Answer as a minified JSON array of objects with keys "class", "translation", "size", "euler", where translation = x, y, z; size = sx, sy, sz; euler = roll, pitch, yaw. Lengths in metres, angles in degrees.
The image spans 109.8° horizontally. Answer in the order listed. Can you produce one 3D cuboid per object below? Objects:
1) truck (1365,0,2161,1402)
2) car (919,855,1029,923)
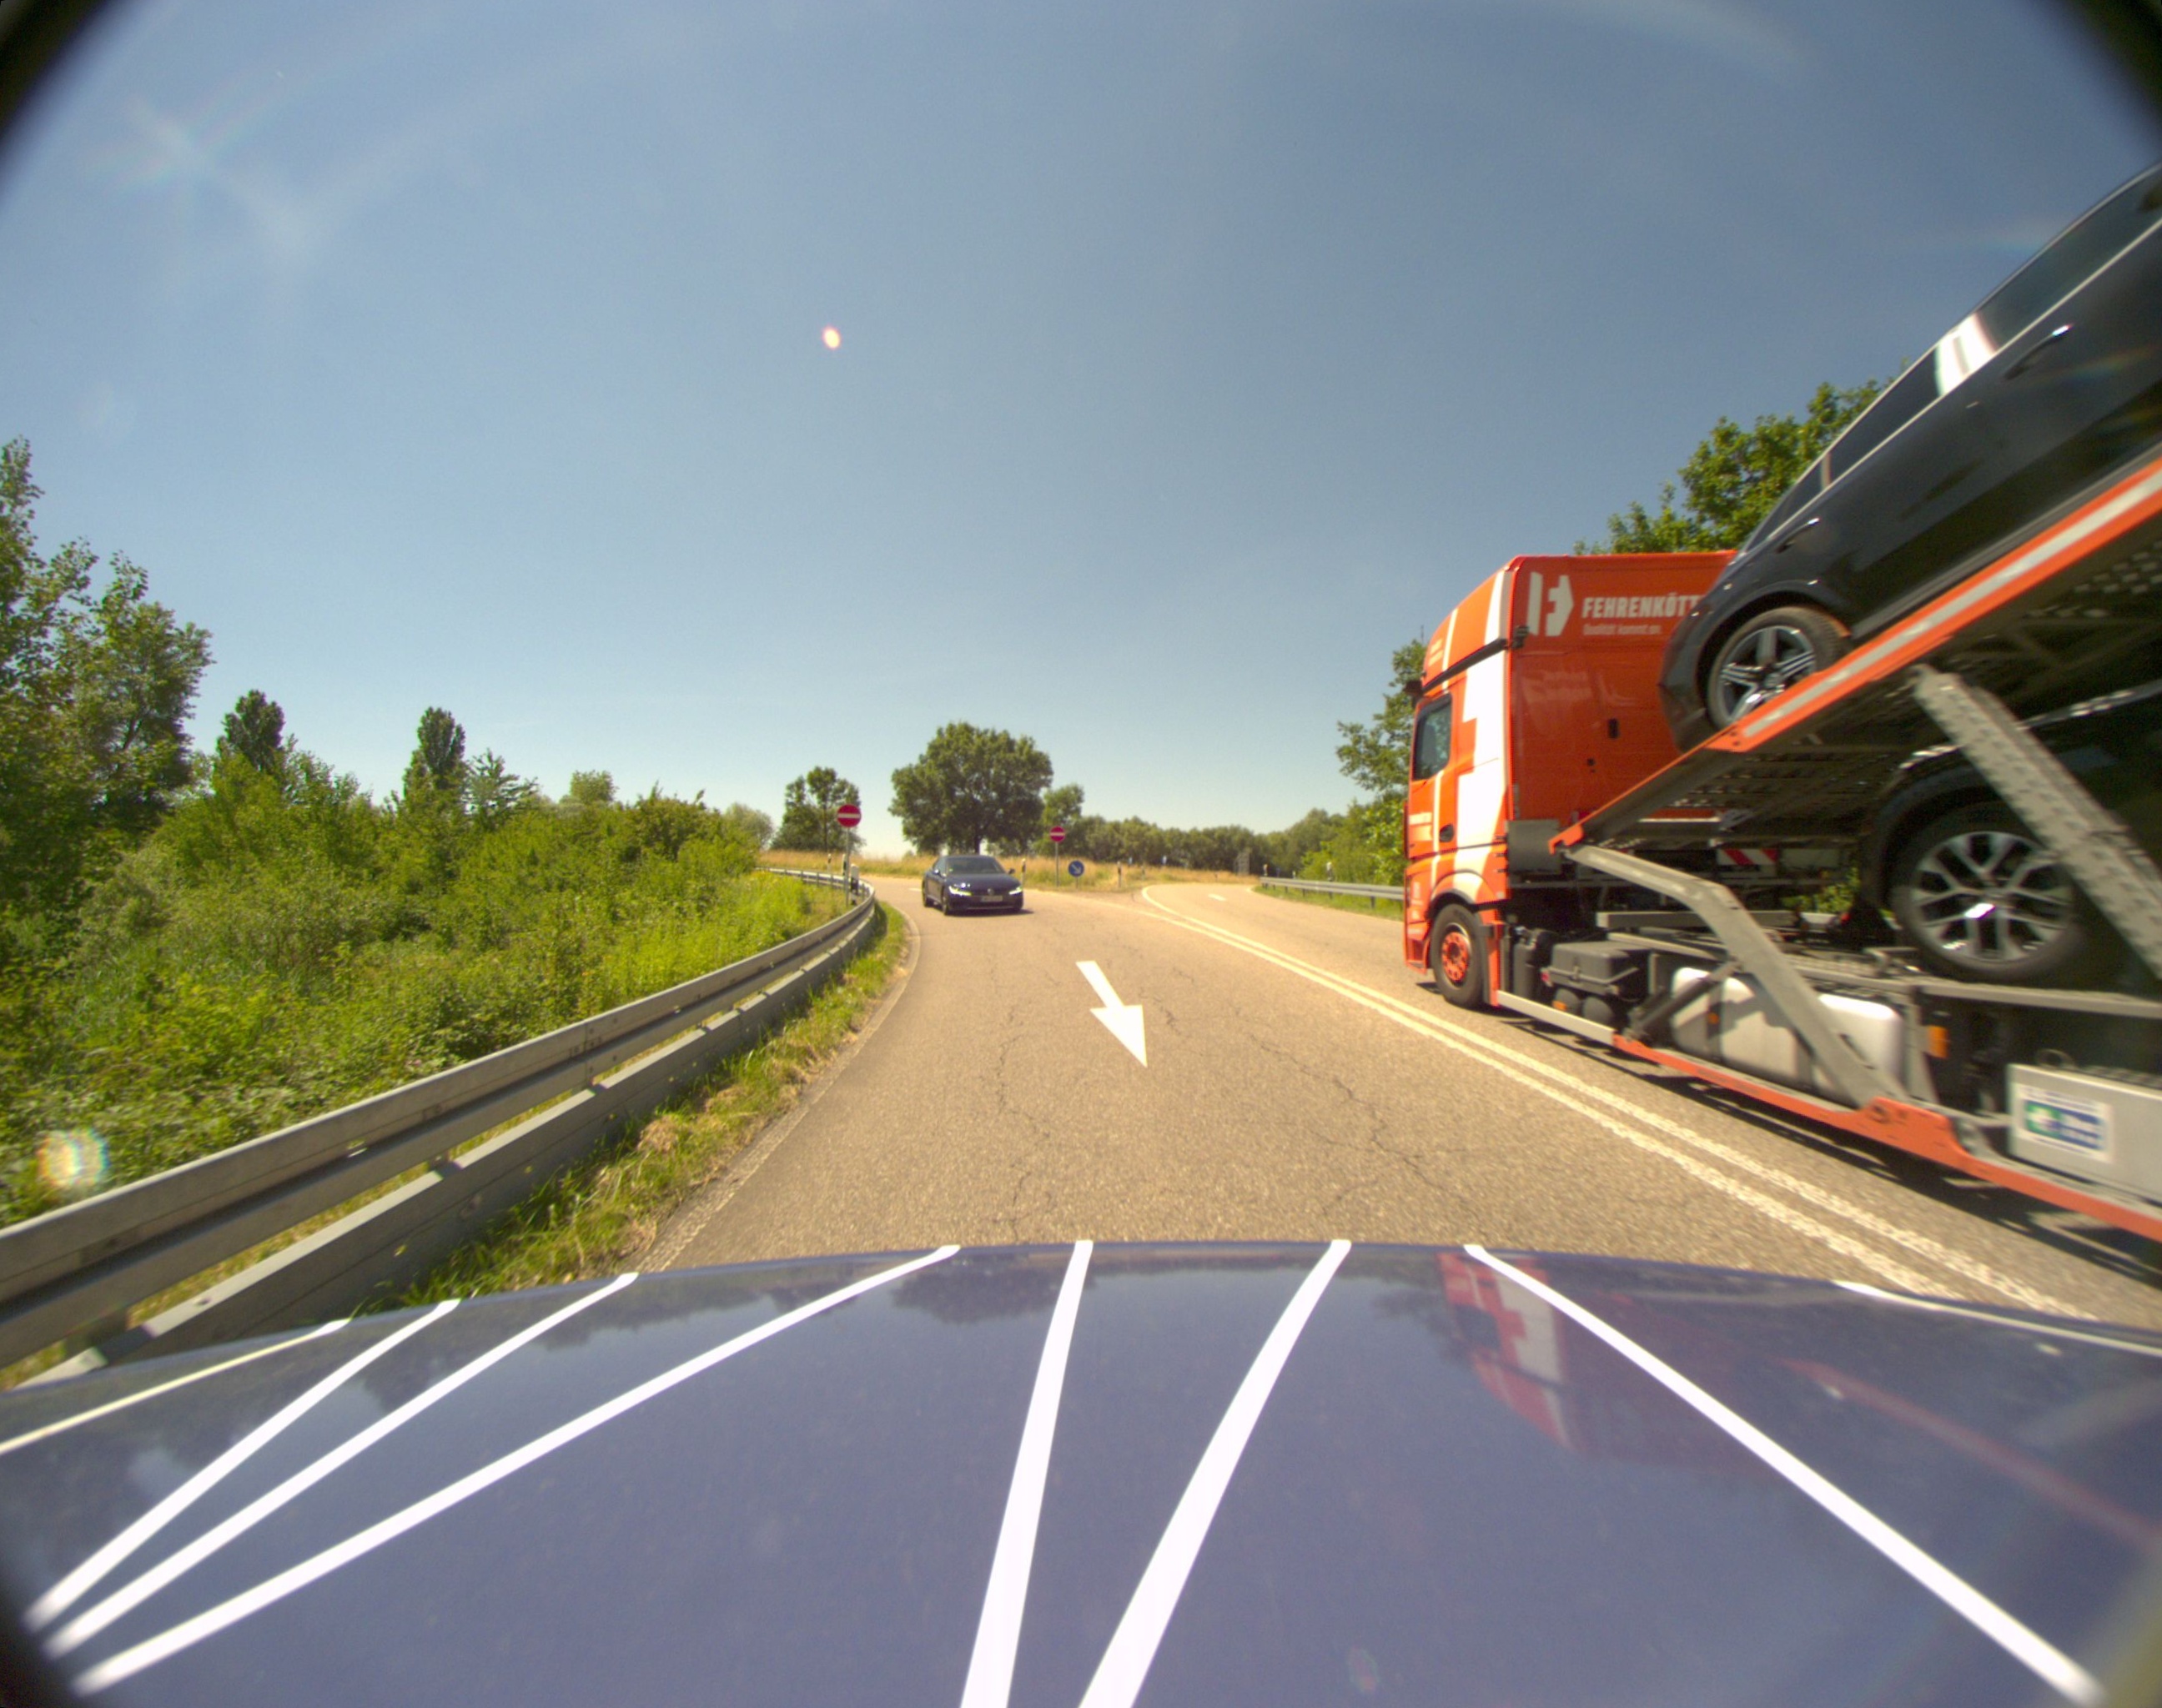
[{"class":"truck","translation":[4.398,-0.461,3.800],"size":[2.796,3.875,8.780],"euler":[-2,0,2]},{"class":"car","translation":[-2.863,0.791,19.463],"size":[1.846,1.422,4.525],"euler":[-2,1,-20]}]
